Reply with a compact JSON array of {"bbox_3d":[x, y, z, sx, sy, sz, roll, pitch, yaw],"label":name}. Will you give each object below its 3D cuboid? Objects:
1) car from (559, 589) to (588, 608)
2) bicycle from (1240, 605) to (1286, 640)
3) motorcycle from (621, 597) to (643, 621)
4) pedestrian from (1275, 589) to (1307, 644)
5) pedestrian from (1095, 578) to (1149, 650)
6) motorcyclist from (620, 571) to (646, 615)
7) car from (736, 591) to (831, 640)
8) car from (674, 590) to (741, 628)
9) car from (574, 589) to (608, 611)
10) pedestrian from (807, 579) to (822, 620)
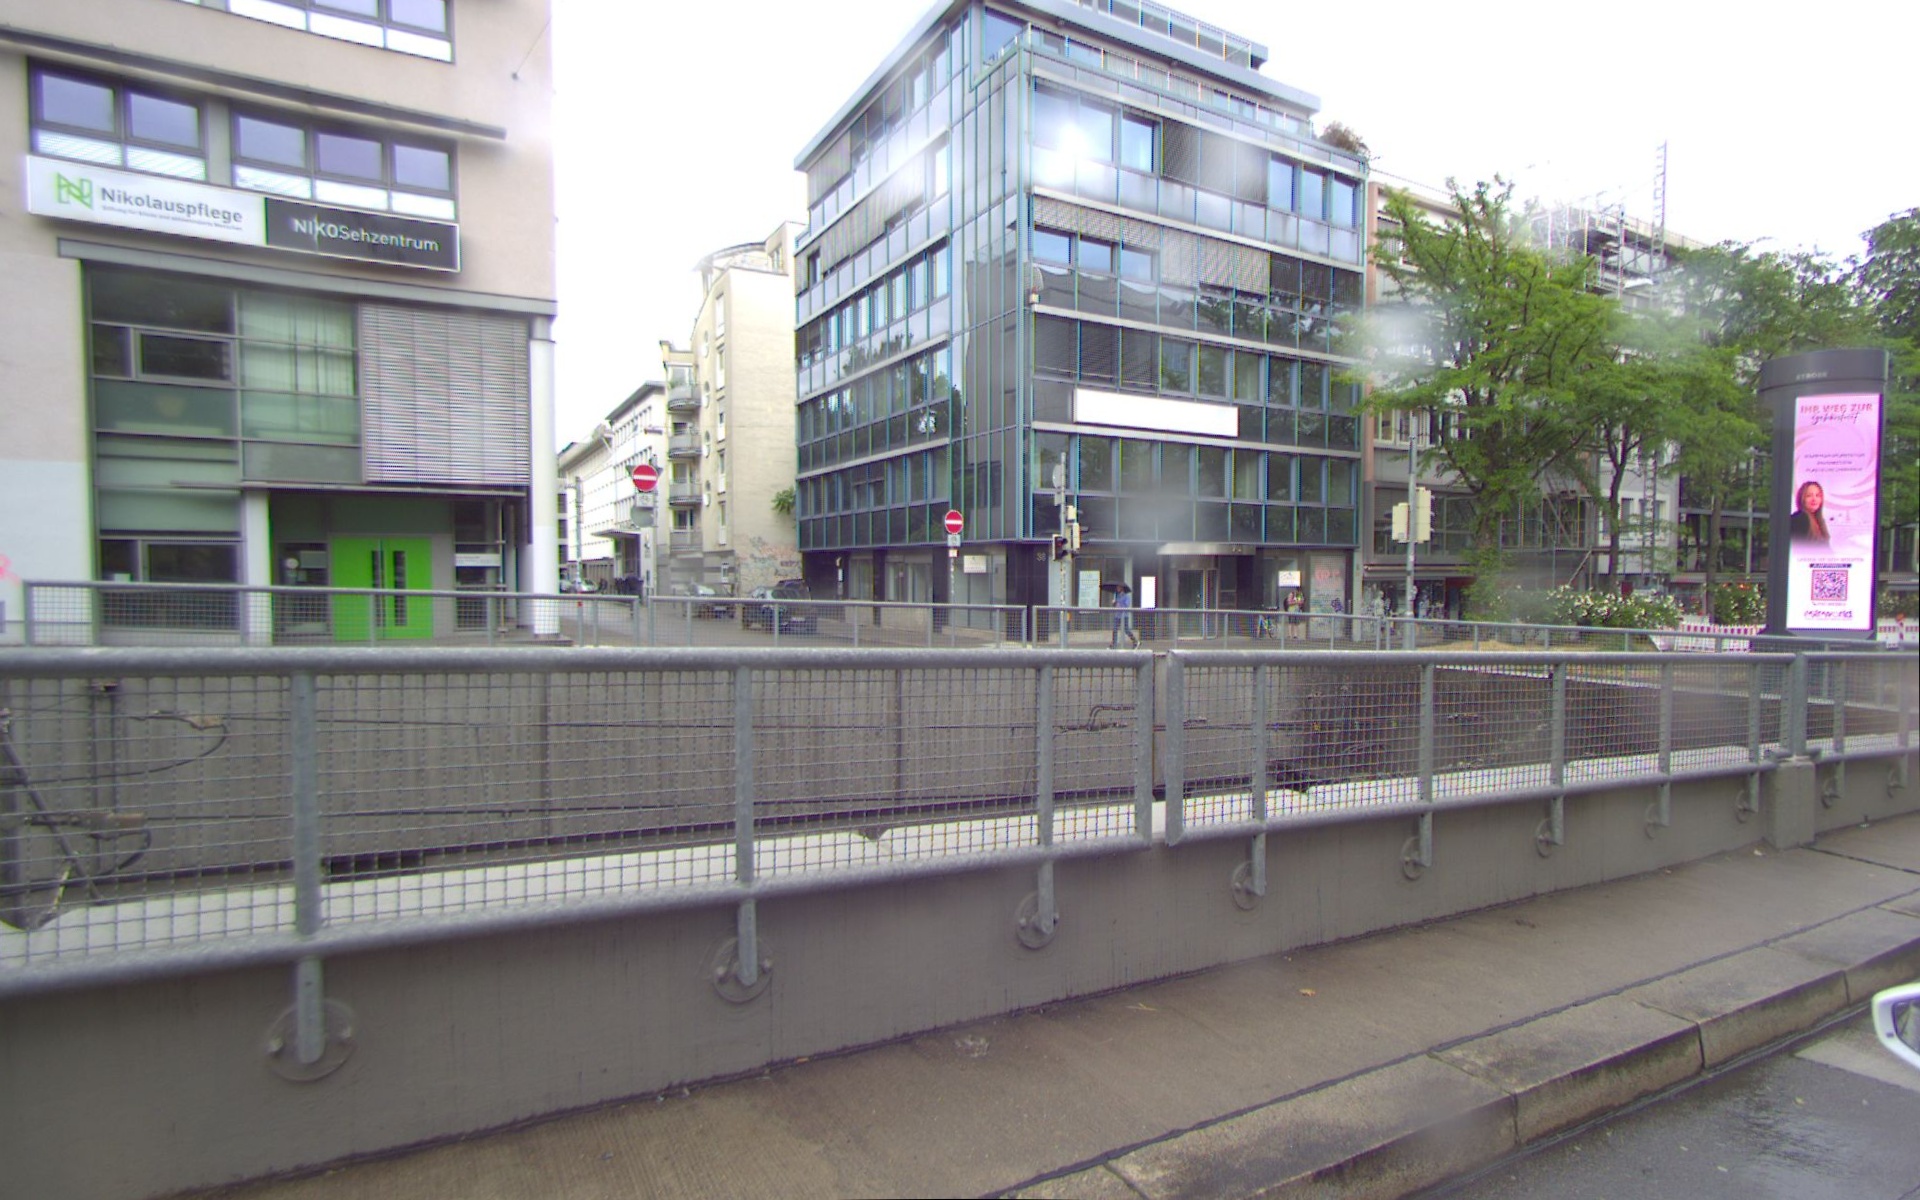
[{"bbox_3d":[-33.972,-0.127,88.218,1.777,1.578,3.967,1,0,-30],"label":"car"},{"bbox_3d":[9.865,0.735,32.719,1.544,1.100,0.444,1,1,-27],"label":"bicycle"},{"bbox_3d":[-14.032,0.375,42.966,0.696,0.984,0.977,1,2,-29],"label":"motorcycle"},{"bbox_3d":[10.944,0.543,33.228,0.688,1.765,0.691,1,2,-35],"label":"pedestrian"},{"bbox_3d":[4.304,0.365,26.676,1.047,1.863,0.853,1,2,-30],"label":"pedestrian"},{"bbox_3d":[-14.006,-0.321,42.952,0.850,1.832,1.007,1,2,-29],"label":"motorcyclist"},{"bbox_3d":[-6.246,0.499,35.168,1.977,1.578,3.966,1,0,-31],"label":"car"},{"bbox_3d":[-11.111,0.359,44.107,1.777,1.578,3.966,1,0,-31],"label":"car"},{"bbox_3d":[-27.966,-0.003,76.097,1.777,1.578,3.967,1,0,-30],"label":"car"},{"bbox_3d":[-5.902,-0.011,40.800,0.443,1.664,0.326,1,2,-35],"label":"pedestrian"}]
